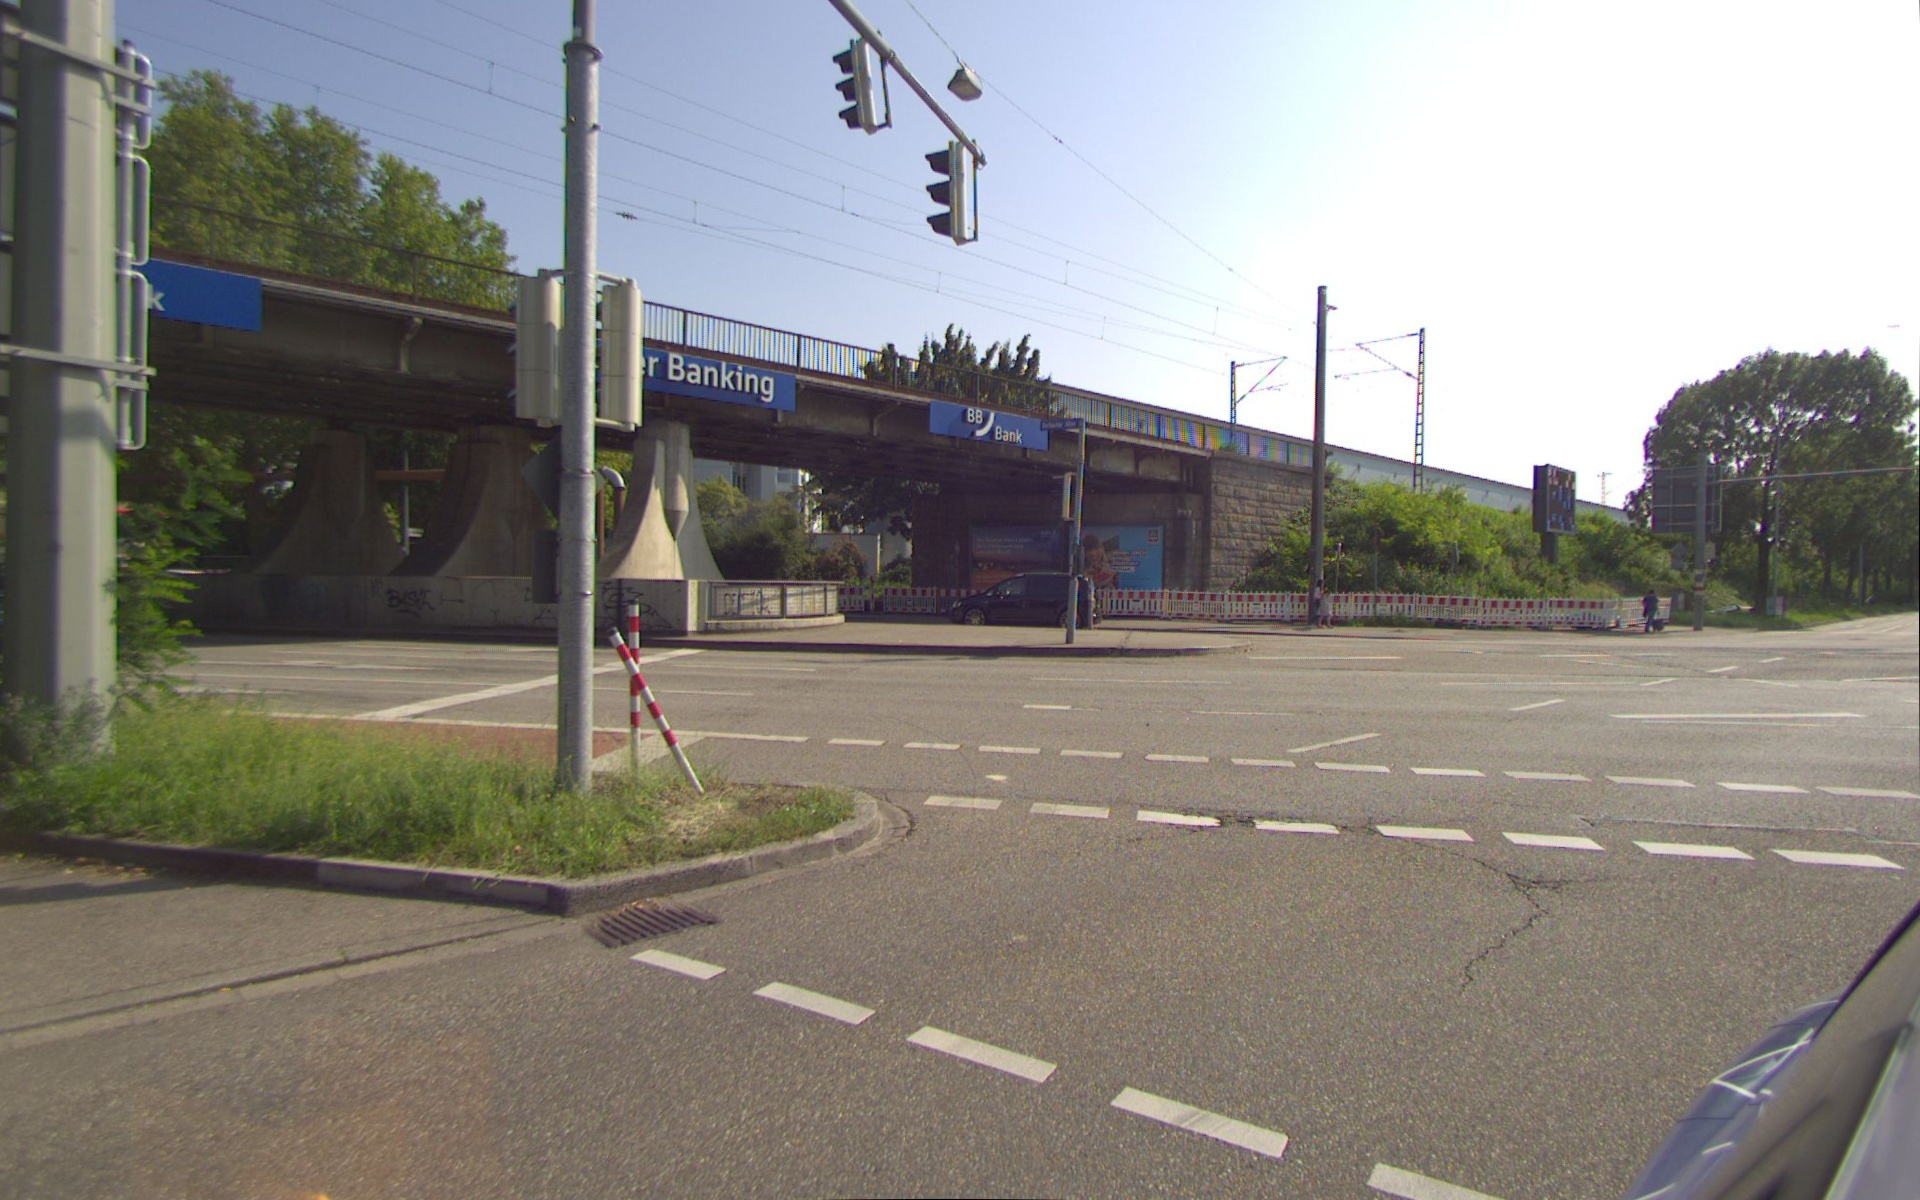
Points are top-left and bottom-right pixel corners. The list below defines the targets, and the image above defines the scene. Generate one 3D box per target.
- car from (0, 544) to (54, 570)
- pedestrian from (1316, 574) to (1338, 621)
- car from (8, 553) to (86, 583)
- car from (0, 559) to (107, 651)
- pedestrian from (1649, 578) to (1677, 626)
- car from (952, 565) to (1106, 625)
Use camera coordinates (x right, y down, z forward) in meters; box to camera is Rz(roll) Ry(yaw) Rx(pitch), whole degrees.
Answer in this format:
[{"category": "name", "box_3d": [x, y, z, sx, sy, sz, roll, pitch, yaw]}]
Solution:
[{"category": "car", "box_3d": [-73.746, -3.344, 78.957, 5.033, 2.038, 1.993, 1, 1, 13]}, {"category": "pedestrian", "box_3d": [12.360, -0.087, 34.112, 0.625, 1.594, 0.489, 0, 1, 11]}, {"category": "car", "box_3d": [-62.780, -2.213, 69.627, 3.939, 2.038, 2.122, 0, 1, 13]}, {"category": "car", "box_3d": [-17.028, 0.030, 17.326, 3.937, 1.470, 1.613, 0, 2, 12]}, {"category": "pedestrian", "box_3d": [24.103, 0.050, 34.693, 0.647, 1.593, 0.748, 3, 3, 40]}, {"category": "car", "box_3d": [1.975, -0.130, 28.403, 4.128, 1.608, 1.775, 0, -1, 11]}]
